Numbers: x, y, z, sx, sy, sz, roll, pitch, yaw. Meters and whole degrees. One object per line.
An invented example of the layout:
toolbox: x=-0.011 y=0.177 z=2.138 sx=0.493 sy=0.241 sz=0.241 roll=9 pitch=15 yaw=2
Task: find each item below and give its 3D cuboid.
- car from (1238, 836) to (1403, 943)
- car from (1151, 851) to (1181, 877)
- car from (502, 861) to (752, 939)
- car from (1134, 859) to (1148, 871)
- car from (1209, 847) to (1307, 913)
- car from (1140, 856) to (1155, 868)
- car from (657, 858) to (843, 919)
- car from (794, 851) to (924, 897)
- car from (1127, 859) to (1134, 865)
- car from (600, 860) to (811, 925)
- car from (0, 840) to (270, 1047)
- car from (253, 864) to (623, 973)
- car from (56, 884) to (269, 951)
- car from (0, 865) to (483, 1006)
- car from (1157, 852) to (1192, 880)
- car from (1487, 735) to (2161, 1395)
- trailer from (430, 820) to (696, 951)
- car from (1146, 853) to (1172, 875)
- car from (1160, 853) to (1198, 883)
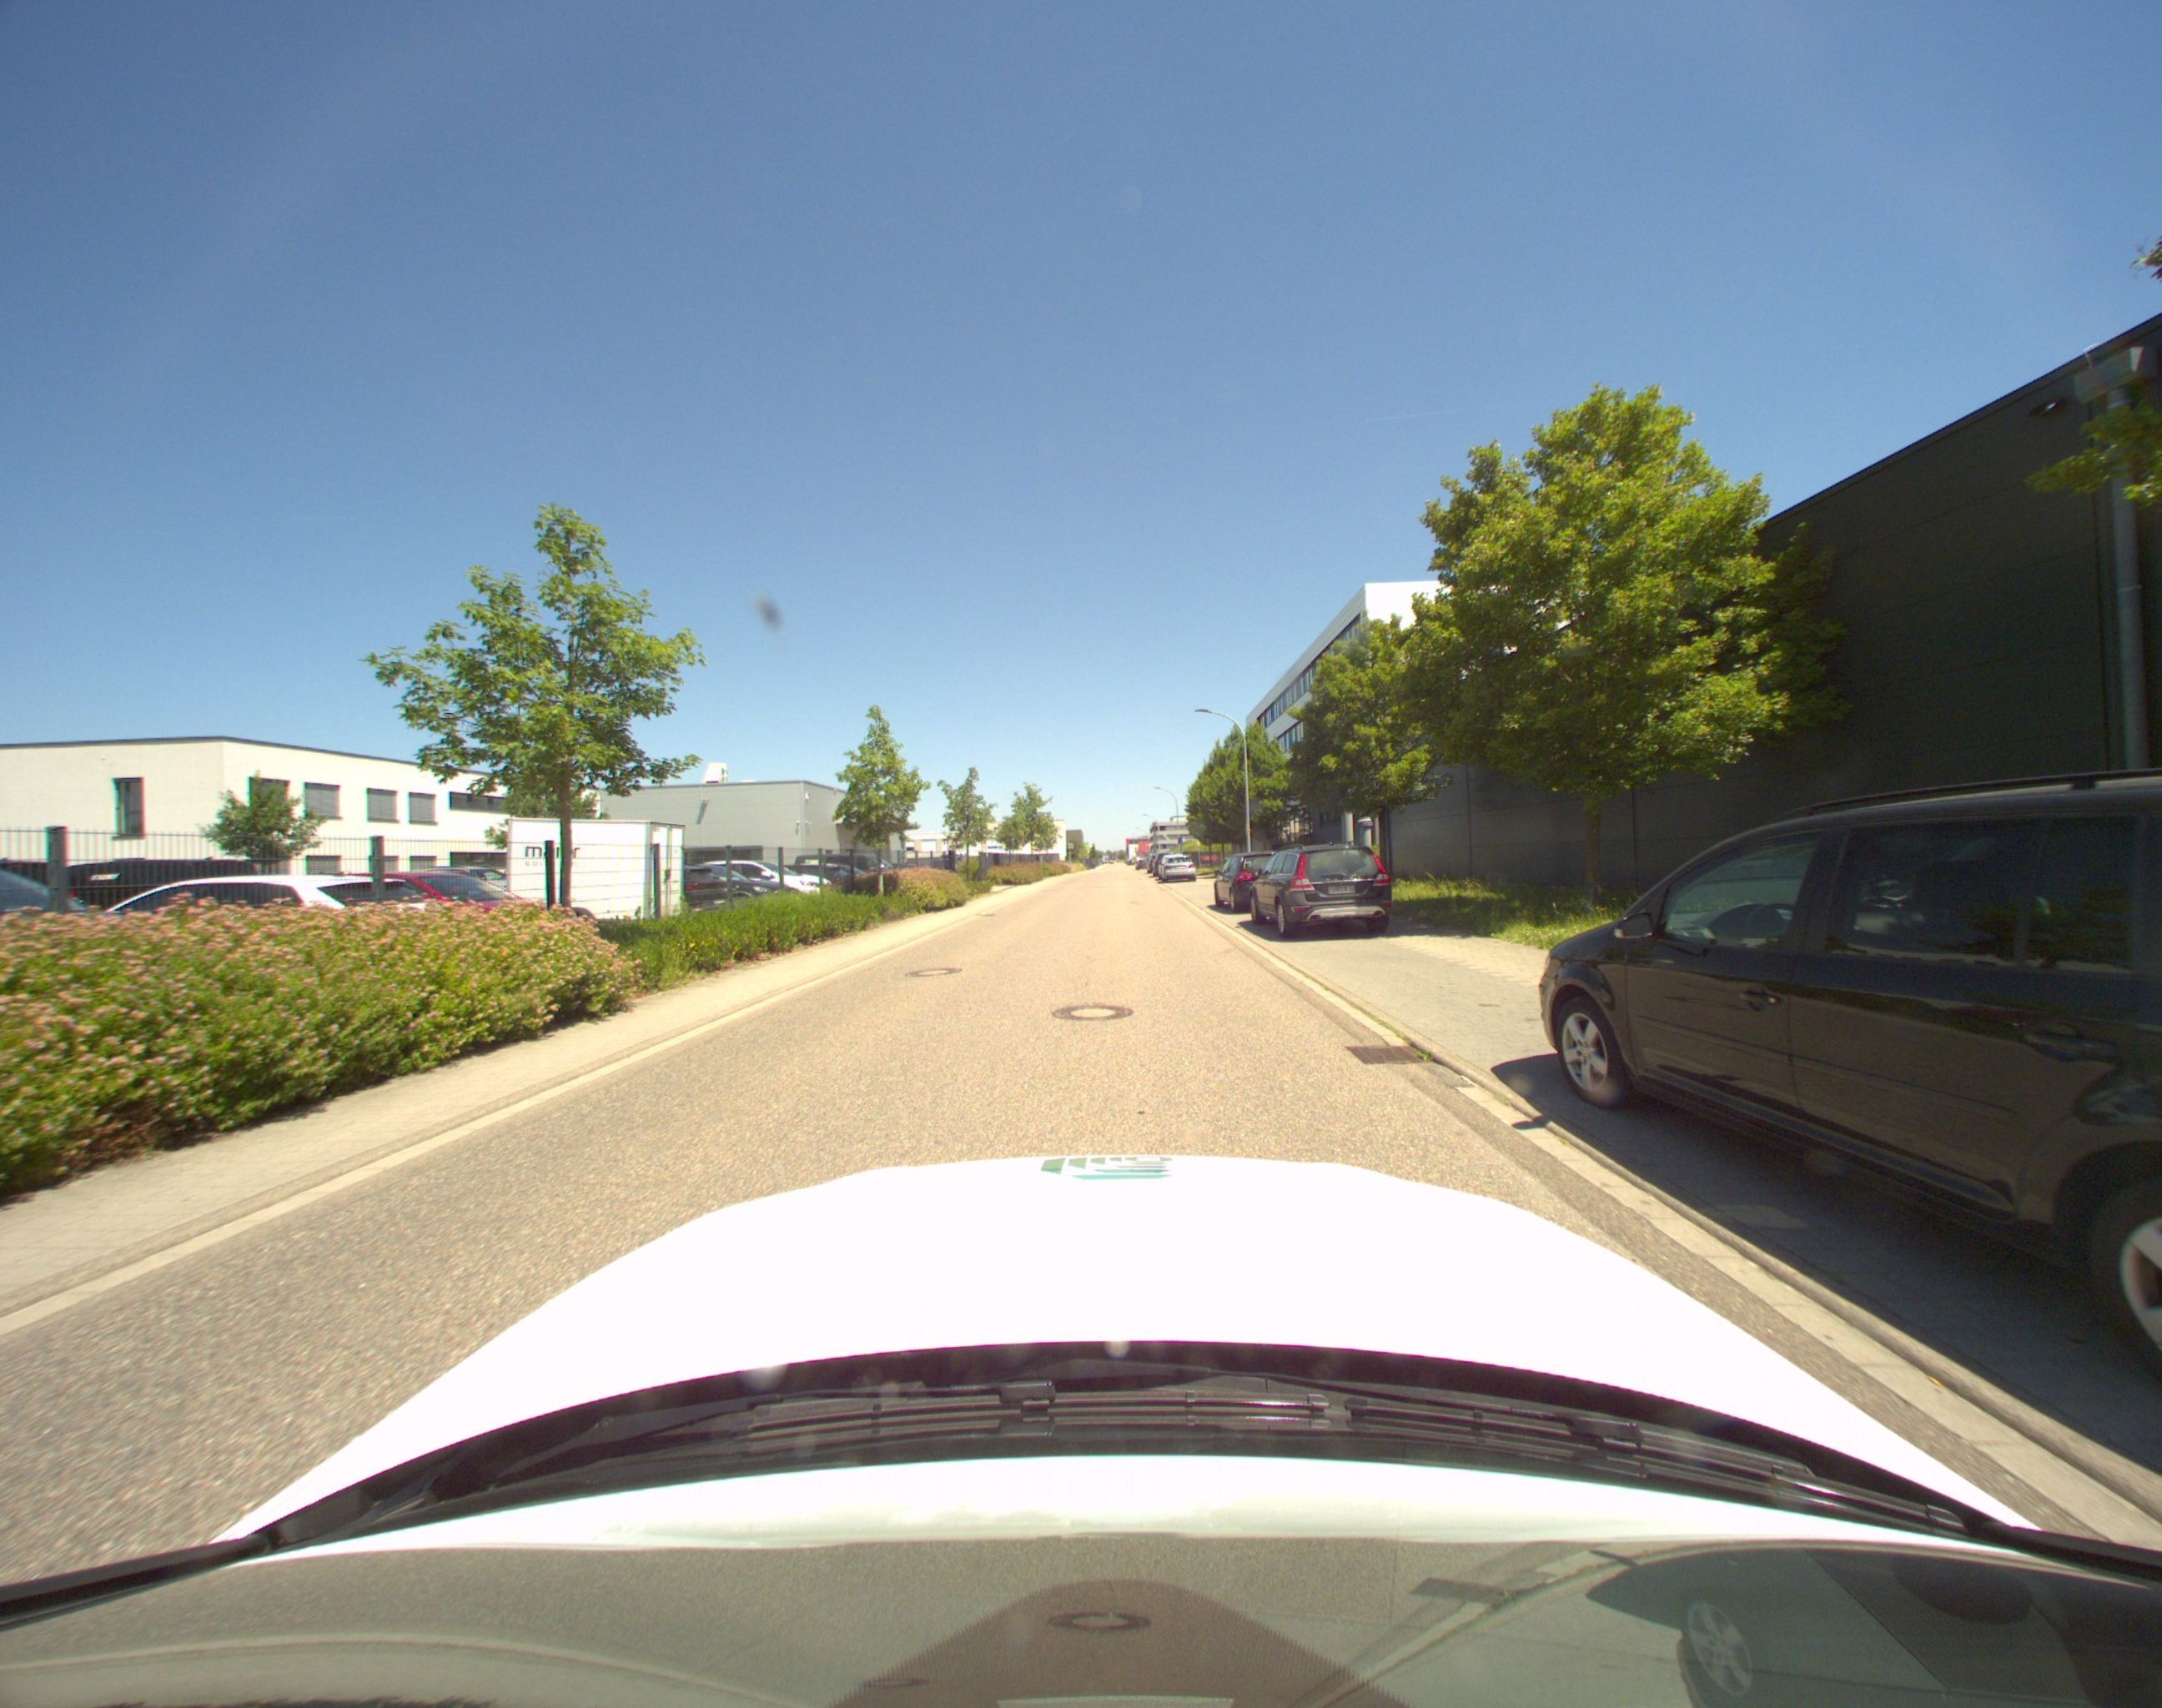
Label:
car: x=4.335 y=0.583 z=15.552 sx=1.800 sy=1.617 sz=4.716 roll=-3 pitch=0 yaw=2
car: x=5.849 y=0.683 z=56.345 sx=1.750 sy=1.663 sz=4.366 roll=-4 pitch=0 yaw=3
car: x=-10.166 y=1.004 z=18.485 sx=4.529 sy=1.535 sz=2.002 roll=-2 pitch=0 yaw=3
car: x=9.135 y=1.669 z=124.400 sx=1.898 sy=1.546 sz=4.006 roll=-4 pitch=-1 yaw=5
car: x=4.539 y=0.629 z=21.458 sx=1.685 sy=1.476 sz=4.270 roll=-3 pitch=0 yaw=2
car: x=8.866 y=1.065 z=108.738 sx=1.898 sy=1.448 sz=4.006 roll=-4 pitch=-1 yaw=5
car: x=-9.826 y=1.011 z=24.428 sx=4.713 sy=1.629 sz=2.002 roll=-2 pitch=0 yaw=3
car: x=-9.573 y=0.864 z=35.403 sx=5.040 sy=1.851 sz=1.965 roll=-1 pitch=-1 yaw=1
car: x=13.394 y=2.095 z=219.498 sx=1.769 sy=1.728 sz=4.003 roll=0 pitch=-1 yaw=3
car: x=-9.990 y=0.994 z=21.911 sx=4.713 sy=1.535 sz=2.002 roll=-2 pitch=0 yaw=3
car: x=-10.585 y=0.785 z=7.370 sx=4.499 sy=1.666 sz=1.775 roll=-2 pitch=0 yaw=-3
car: x=-9.898 y=0.945 z=12.826 sx=4.192 sy=1.452 sz=2.000 roll=-2 pitch=0 yaw=0
car: x=-20.076 y=1.362 z=17.875 sx=2.999 sy=1.294 sz=1.494 roll=-1 pitch=-1 yaw=1
car: x=-10.192 y=0.933 z=10.082 sx=4.194 sy=1.452 sz=1.776 roll=-2 pitch=0 yaw=-1
car: x=5.583 y=0.714 z=48.962 sx=1.709 sy=1.481 sz=4.034 roll=-4 pitch=0 yaw=3
car: x=3.609 y=0.496 z=3.355 sx=1.731 sy=1.670 sz=4.370 roll=-3 pitch=0 yaw=2
trailer: x=-9.834 y=0.576 z=15.706 sx=3.975 sy=2.360 sz=1.726 roll=0 pitch=-1 yaw=-1
car: x=6.550 y=0.815 z=69.008 sx=1.797 sy=1.662 sz=4.610 roll=-4 pitch=0 yaw=2
car: x=5.283 y=0.731 z=44.383 sx=1.709 sy=1.423 sz=3.954 roll=-4 pitch=0 yaw=3
